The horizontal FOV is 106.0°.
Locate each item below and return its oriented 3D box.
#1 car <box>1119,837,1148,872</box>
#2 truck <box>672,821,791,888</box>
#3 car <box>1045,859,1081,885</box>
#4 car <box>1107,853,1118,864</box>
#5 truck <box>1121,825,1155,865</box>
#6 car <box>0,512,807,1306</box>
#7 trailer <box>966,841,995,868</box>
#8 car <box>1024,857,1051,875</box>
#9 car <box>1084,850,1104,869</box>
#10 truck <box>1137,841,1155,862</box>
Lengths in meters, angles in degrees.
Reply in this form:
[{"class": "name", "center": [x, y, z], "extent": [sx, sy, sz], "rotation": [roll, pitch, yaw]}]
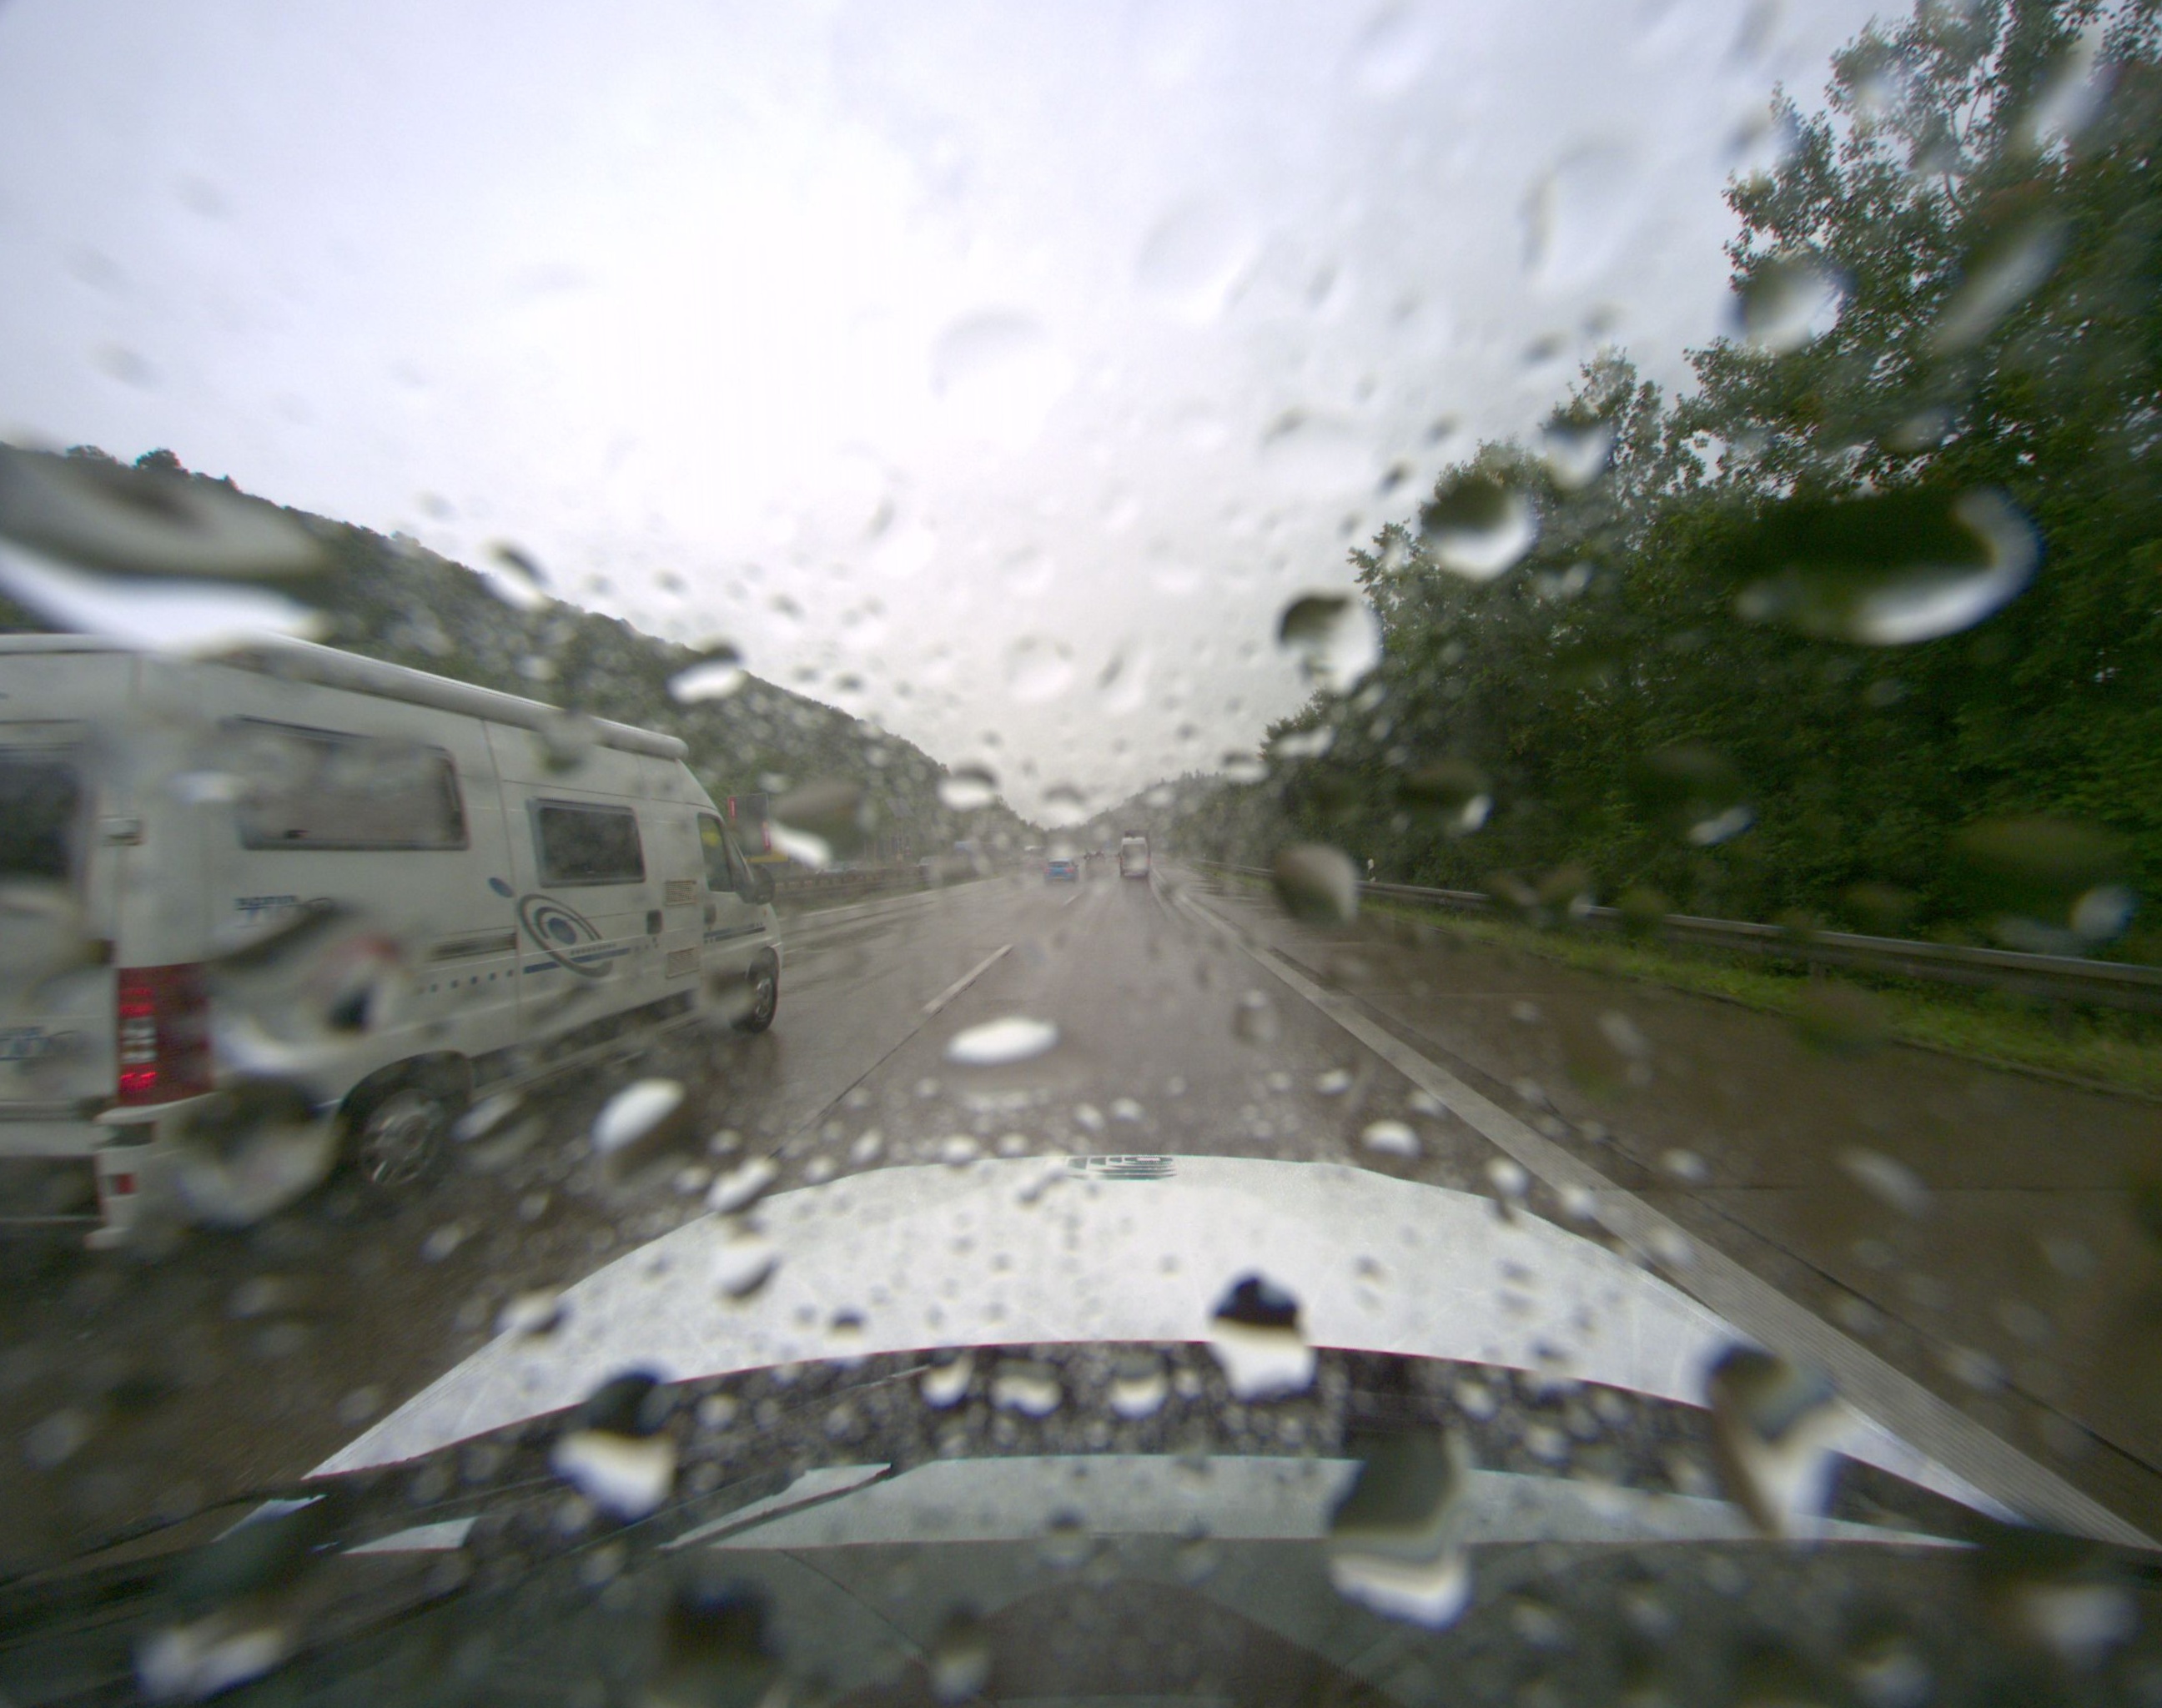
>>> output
[{"class": "car", "center": [3.600, 0.028, 56.036], "extent": [1.891, 2.334, 5.255], "rotation": [0, 0, 3]}, {"class": "truck", "center": [-21.064, 0.027, 49.906], "extent": [2.573, 3.700, 9.809], "rotation": [0, 0, 4]}, {"class": "car", "center": [-0.963, 0.996, 45.556], "extent": [1.849, 1.339, 4.352], "rotation": [0, 0, 1]}, {"class": "car", "center": [4.926, 0.649, 126.174], "extent": [1.607, 1.628, 4.192], "rotation": [0, 0, 3]}, {"class": "truck", "center": [6.130, -1.014, 87.216], "extent": [3.370, 3.967, 8.677], "rotation": [-2, 2, 4]}, {"class": "car", "center": [-3.843, 0.163, 5.393], "extent": [1.990, 2.432, 5.792], "rotation": [0, 0, 1]}, {"class": "trailer", "center": [-15.774, 0.066, 128.387], "extent": [2.836, 4.154, 8.533], "rotation": [0, 0, 4]}, {"class": "car", "center": [-3.475, 0.948, 66.468], "extent": [1.849, 1.339, 4.353], "rotation": [0, 0, 2]}, {"class": "car", "center": [1.312, 0.549, 82.519], "extent": [1.861, 1.810, 4.192], "rotation": [0, 0, 3]}, {"class": "truck", "center": [12.274, -0.448, 153.229], "extent": [3.074, 3.910, 9.071], "rotation": [0, 0, 7]}]
